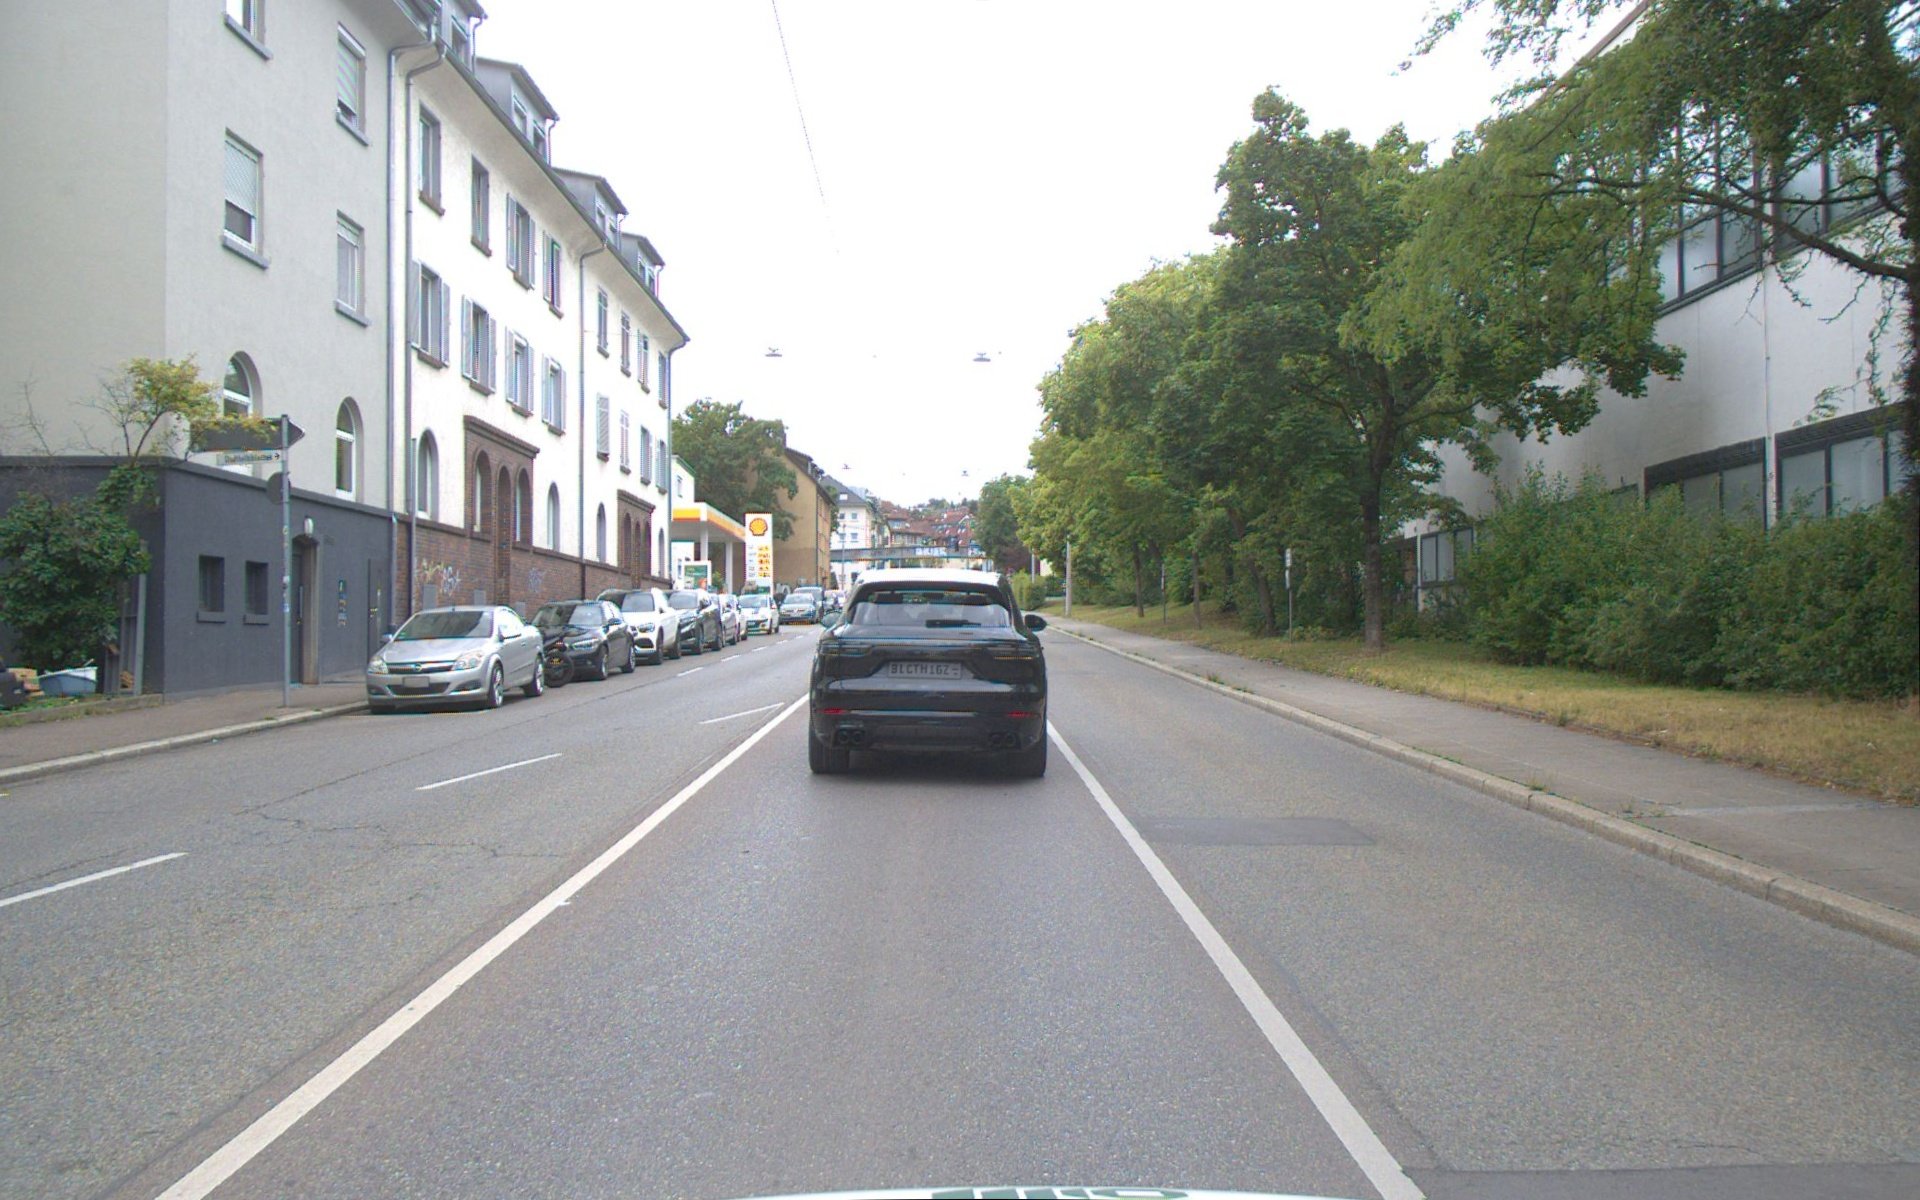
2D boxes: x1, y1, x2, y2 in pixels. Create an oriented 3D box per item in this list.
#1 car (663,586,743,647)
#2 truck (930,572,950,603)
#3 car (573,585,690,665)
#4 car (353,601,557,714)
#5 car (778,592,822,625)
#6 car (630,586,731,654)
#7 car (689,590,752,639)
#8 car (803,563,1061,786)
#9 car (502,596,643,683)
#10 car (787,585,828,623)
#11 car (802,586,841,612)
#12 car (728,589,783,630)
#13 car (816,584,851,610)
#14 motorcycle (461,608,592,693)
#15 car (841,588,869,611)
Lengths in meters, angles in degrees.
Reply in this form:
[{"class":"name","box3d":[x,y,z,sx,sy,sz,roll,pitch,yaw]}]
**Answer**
[{"class":"car","box3d":[-7.360,0.450,47.707,1.692,1.585,4.080,-3,0,-1]},{"class":"truck","box3d":[-2.282,-1.389,188.924,2.220,3.484,9.876,0,0,-1]},{"class":"car","box3d":[-7.316,0.512,37.255,1.808,1.649,4.642,-1,1,-2]},{"class":"car","box3d":[-7.088,0.751,23.673,1.692,1.398,4.336,-1,1,-2]},{"class":"car","box3d":[-7.726,0.392,80.059,1.754,1.475,4.217,-1,0,-1]},{"class":"car","box3d":[-7.120,0.457,42.524,1.691,1.627,4.503,-1,1,2]},{"class":"car","box3d":[-7.578,0.442,52.636,1.516,1.501,3.603,-1,0,-1]},{"class":"car","box3d":[-0.219,0.542,14.605,1.953,1.691,4.000,0,1,0]},{"class":"car","box3d":[-7.155,0.681,30.941,1.692,1.454,4.191,-1,1,-1]},{"class":"car","box3d":[-7.864,0.185,85.834,1.814,1.867,4.700,-1,0,-2]},{"class":"car","box3d":[-8.088,-0.051,97.028,1.760,1.456,4.744,-1,0,2]},{"class":"car","box3d":[-7.632,0.336,61.949,1.586,1.450,3.665,-1,1,0]},{"class":"car","box3d":[-8.097,-0.194,106.374,1.876,1.605,4.699,-1,0,0]},{"class":"motorcycle","box3d":[-7.152,0.817,27.278,2.009,1.256,0.803,-3,1,-19]},{"class":"car","box3d":[-8.140,-0.062,128.251,1.746,1.637,4.265,-2,0,1]}]
